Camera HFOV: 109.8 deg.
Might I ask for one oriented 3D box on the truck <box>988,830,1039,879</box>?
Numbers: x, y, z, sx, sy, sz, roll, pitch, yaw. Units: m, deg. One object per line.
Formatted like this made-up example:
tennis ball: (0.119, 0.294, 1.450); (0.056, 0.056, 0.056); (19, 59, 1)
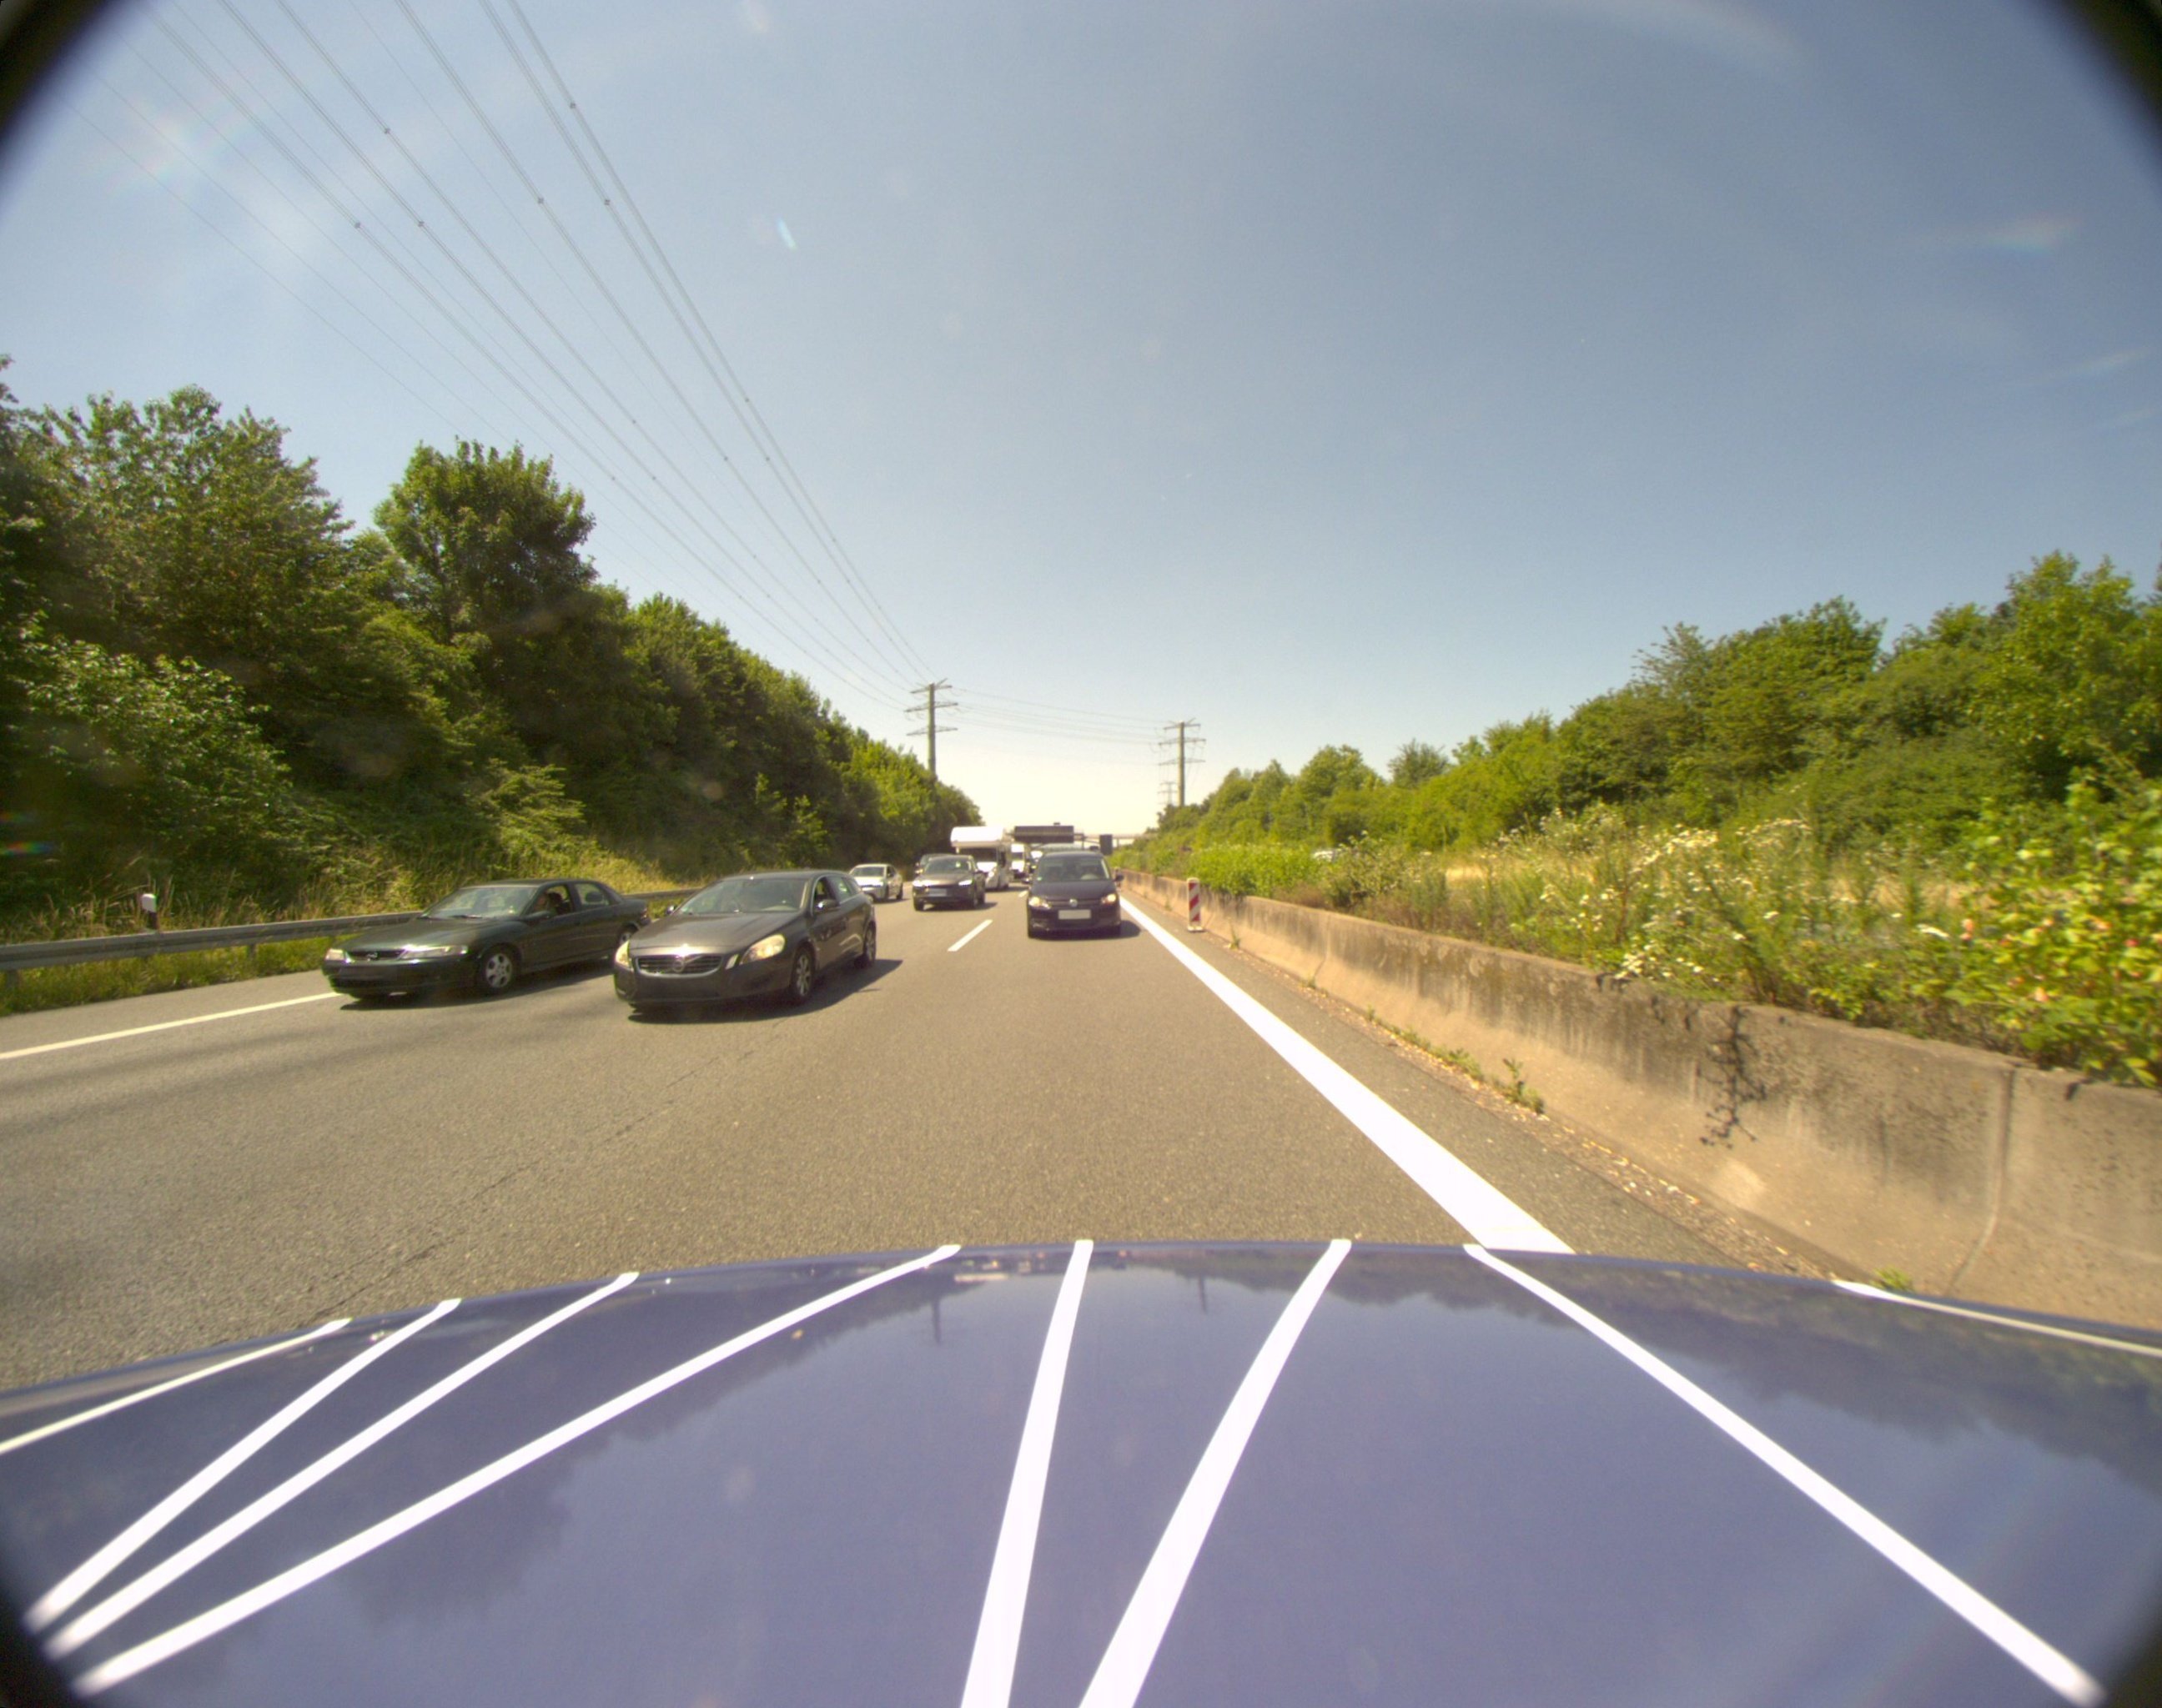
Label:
truck: (-4.538, -0.033, 52.845); (2.514, 2.997, 9.896); (-2, 1, 0)

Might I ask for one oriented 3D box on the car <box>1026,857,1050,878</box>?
car: (-3.703, 1.146, 65.831); (1.892, 1.693, 4.382); (-2, 1, -2)

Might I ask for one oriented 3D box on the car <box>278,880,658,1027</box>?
car: (-7.943, 1.175, 10.524); (1.739, 1.370, 4.301); (-2, 1, 0)

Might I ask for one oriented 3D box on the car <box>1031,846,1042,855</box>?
car: (-10.029, -0.876, 171.674); (1.998, 2.002, 3.999); (-2, 1, 0)

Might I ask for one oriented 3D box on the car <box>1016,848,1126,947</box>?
car: (-0.245, 0.754, 15.659); (1.892, 1.693, 4.382); (-2, 1, -2)

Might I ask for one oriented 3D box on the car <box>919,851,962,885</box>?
car: (-8.658, 0.817, 47.193); (1.789, 1.893, 4.697); (-2, 1, -1)

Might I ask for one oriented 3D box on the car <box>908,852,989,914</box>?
car: (-4.069, 0.841, 24.056); (1.892, 1.693, 4.382); (-2, 1, -2)

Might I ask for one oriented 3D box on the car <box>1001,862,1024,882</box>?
car: (-6.477, 1.717, 71.975); (1.892, 1.693, 4.382); (-2, 1, -2)

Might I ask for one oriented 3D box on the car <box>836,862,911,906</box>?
car: (-7.859, 1.098, 29.116); (1.745, 1.461, 4.013); (-2, 0, 0)

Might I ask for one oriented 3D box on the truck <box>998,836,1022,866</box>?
truck: (-9.027, -0.380, 97.709); (2.409, 3.557, 9.189); (-2, 1, -2)

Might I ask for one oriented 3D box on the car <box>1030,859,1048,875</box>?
car: (-4.761, 1.450, 86.651); (1.892, 1.693, 4.382); (-2, 1, -2)

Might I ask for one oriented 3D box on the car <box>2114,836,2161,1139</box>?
car: (8.064, 0.883, 3.249); (1.833, 2.002, 4.000); (0, 0, 0)

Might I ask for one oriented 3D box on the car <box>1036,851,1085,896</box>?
car: (-0.882, 0.769, 32.451); (1.892, 1.693, 4.382); (-2, 1, -2)

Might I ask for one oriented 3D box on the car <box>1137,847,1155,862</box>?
car: (13.529, 0.083, 158.617); (2.769, 2.856, 7.675); (-2, 1, -1)

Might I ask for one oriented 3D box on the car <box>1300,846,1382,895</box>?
car: (11.310, 0.662, 33.412); (1.966, 2.002, 4.409); (0, 0, -2)

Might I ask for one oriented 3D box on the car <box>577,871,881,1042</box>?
car: (-3.856, 1.008, 9.260); (1.801, 1.429, 4.229); (-2, 1, -2)

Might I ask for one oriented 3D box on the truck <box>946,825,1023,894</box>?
truck: (-4.676, 0.197, 38.779); (2.514, 2.997, 9.896); (-2, 1, 0)

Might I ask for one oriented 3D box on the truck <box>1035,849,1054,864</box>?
truck: (-5.668, 0.331, 119.095); (2.409, 2.203, 6.743); (-2, 1, 1)
